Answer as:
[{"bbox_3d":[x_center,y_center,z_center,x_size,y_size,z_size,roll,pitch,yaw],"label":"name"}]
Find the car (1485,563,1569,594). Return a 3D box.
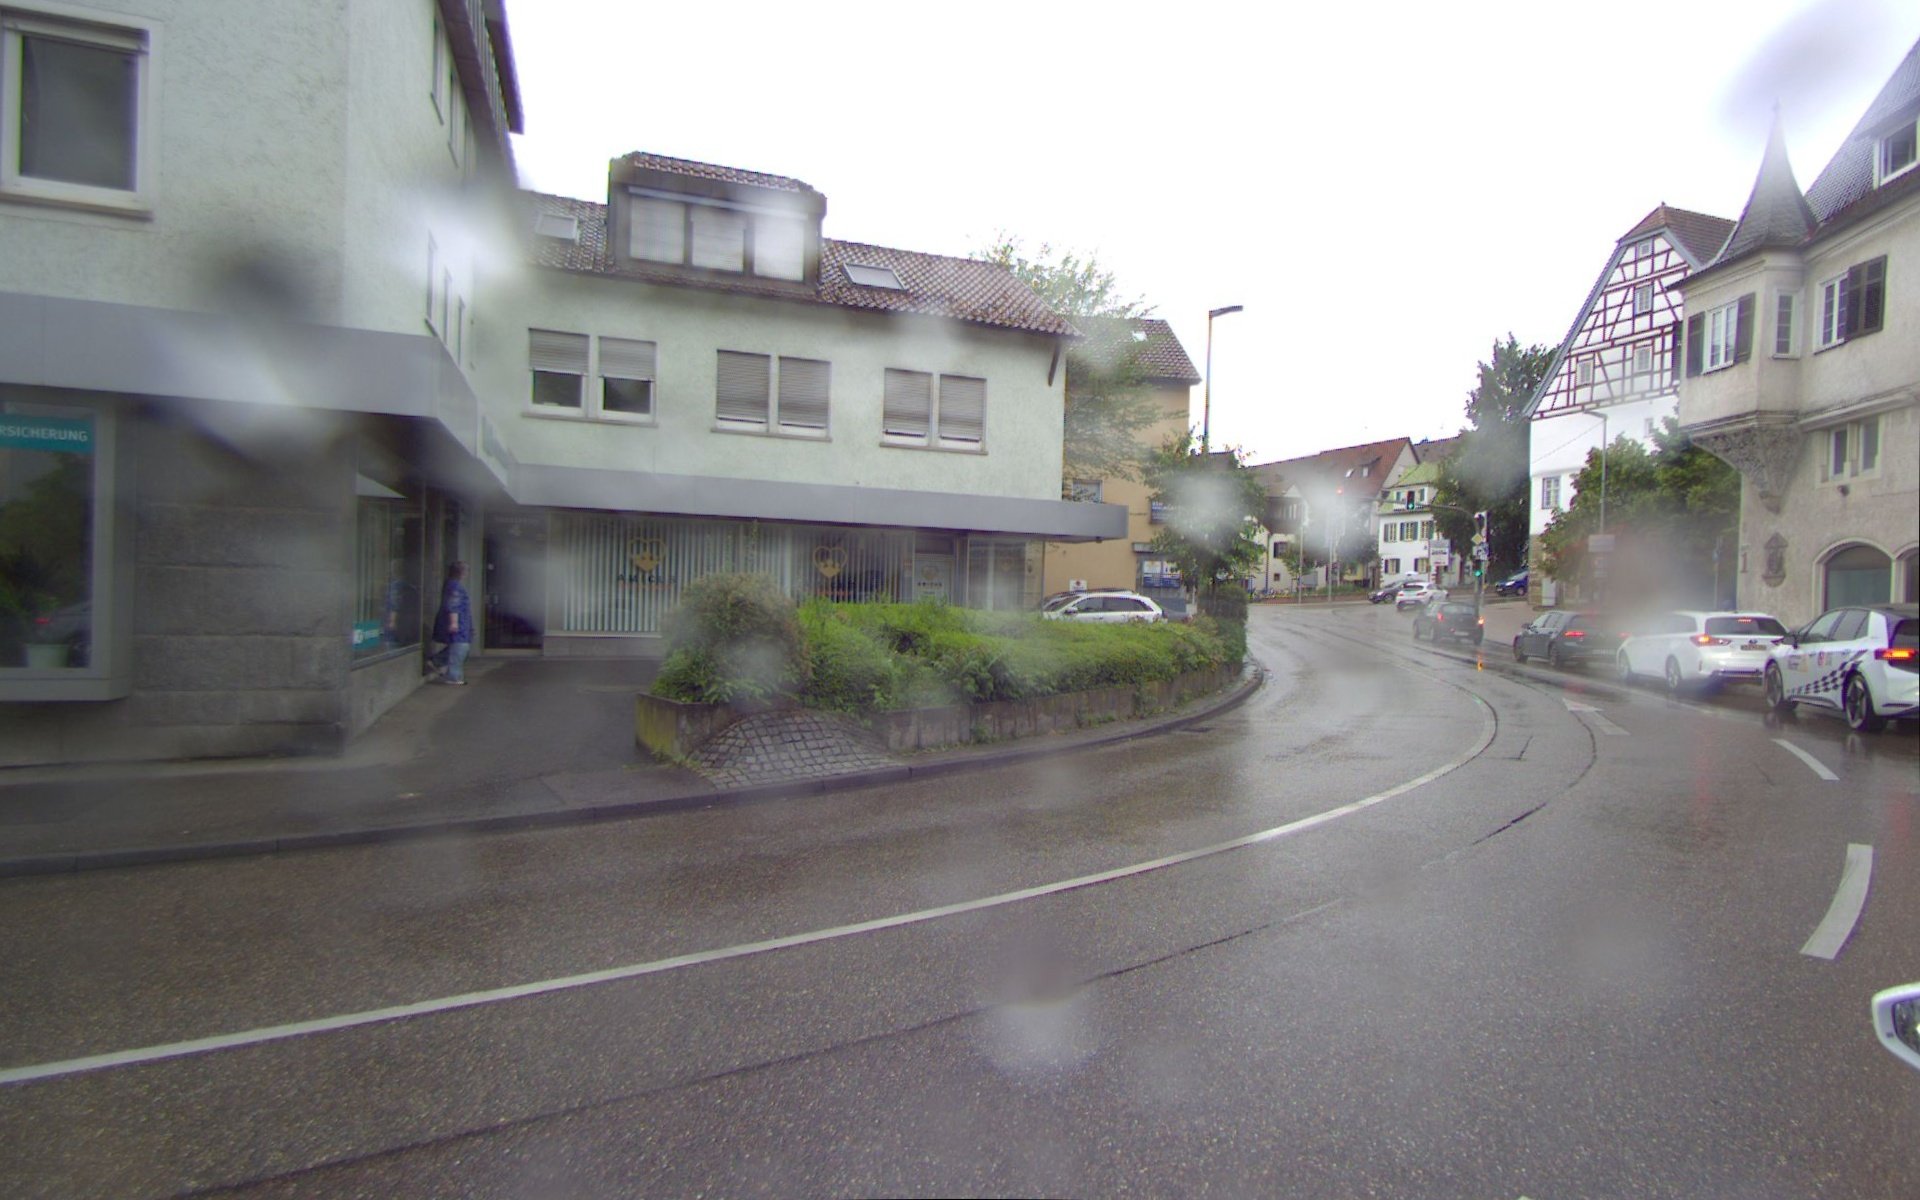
[{"bbox_3d":[36.876,-1.400,65.402,4.289,1.907,2.001,1,0,5],"label":"car"}]

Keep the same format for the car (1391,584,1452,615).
[{"bbox_3d":[25.908,-0.018,56.351,1.971,1.608,4.288,1,0,41],"label":"car"}]

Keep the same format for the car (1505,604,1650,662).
[{"bbox_3d":[15.857,0.792,26.055,1.959,1.319,4.002,1,0,12],"label":"car"}]

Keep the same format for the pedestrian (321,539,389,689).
[{"bbox_3d":[-7.689,0.167,12.790,0.664,1.844,0.613,1,1,-26],"label":"pedestrian"}]

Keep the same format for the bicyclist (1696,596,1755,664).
[{"bbox_3d":[17.940,0.681,23.566,0.671,1.538,1.031,1,1,9],"label":"bicyclist"}]

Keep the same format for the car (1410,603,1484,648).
[{"bbox_3d":[17.957,0.907,37.162,1.556,1.544,3.434,1,0,10],"label":"car"}]

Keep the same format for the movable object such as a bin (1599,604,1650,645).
[{"bbox_3d":[22.408,0.817,33.880,1.135,1.330,1.186,1,1,19],"label":"movable object such as a bin"}]

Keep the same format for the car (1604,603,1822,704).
[{"bbox_3d":[13.970,0.889,18.966,1.853,1.617,4.327,1,0,16],"label":"car"}]

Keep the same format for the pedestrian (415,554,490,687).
[{"bbox_3d":[-6.663,0.259,13.224,0.851,1.694,0.614,1,1,-25],"label":"pedestrian"}]

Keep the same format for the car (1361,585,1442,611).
[{"bbox_3d":[28.415,-0.149,64.652,4.409,1.567,1.862,1,0,-4],"label":"car"}]

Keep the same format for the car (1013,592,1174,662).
[{"bbox_3d":[3.306,0.649,25.266,3.580,1.651,1.996,1,0,-10],"label":"car"}]

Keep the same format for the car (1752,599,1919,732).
[{"bbox_3d":[12.106,0.773,13.034,1.827,1.492,3.998,3,1,23],"label":"car"}]
